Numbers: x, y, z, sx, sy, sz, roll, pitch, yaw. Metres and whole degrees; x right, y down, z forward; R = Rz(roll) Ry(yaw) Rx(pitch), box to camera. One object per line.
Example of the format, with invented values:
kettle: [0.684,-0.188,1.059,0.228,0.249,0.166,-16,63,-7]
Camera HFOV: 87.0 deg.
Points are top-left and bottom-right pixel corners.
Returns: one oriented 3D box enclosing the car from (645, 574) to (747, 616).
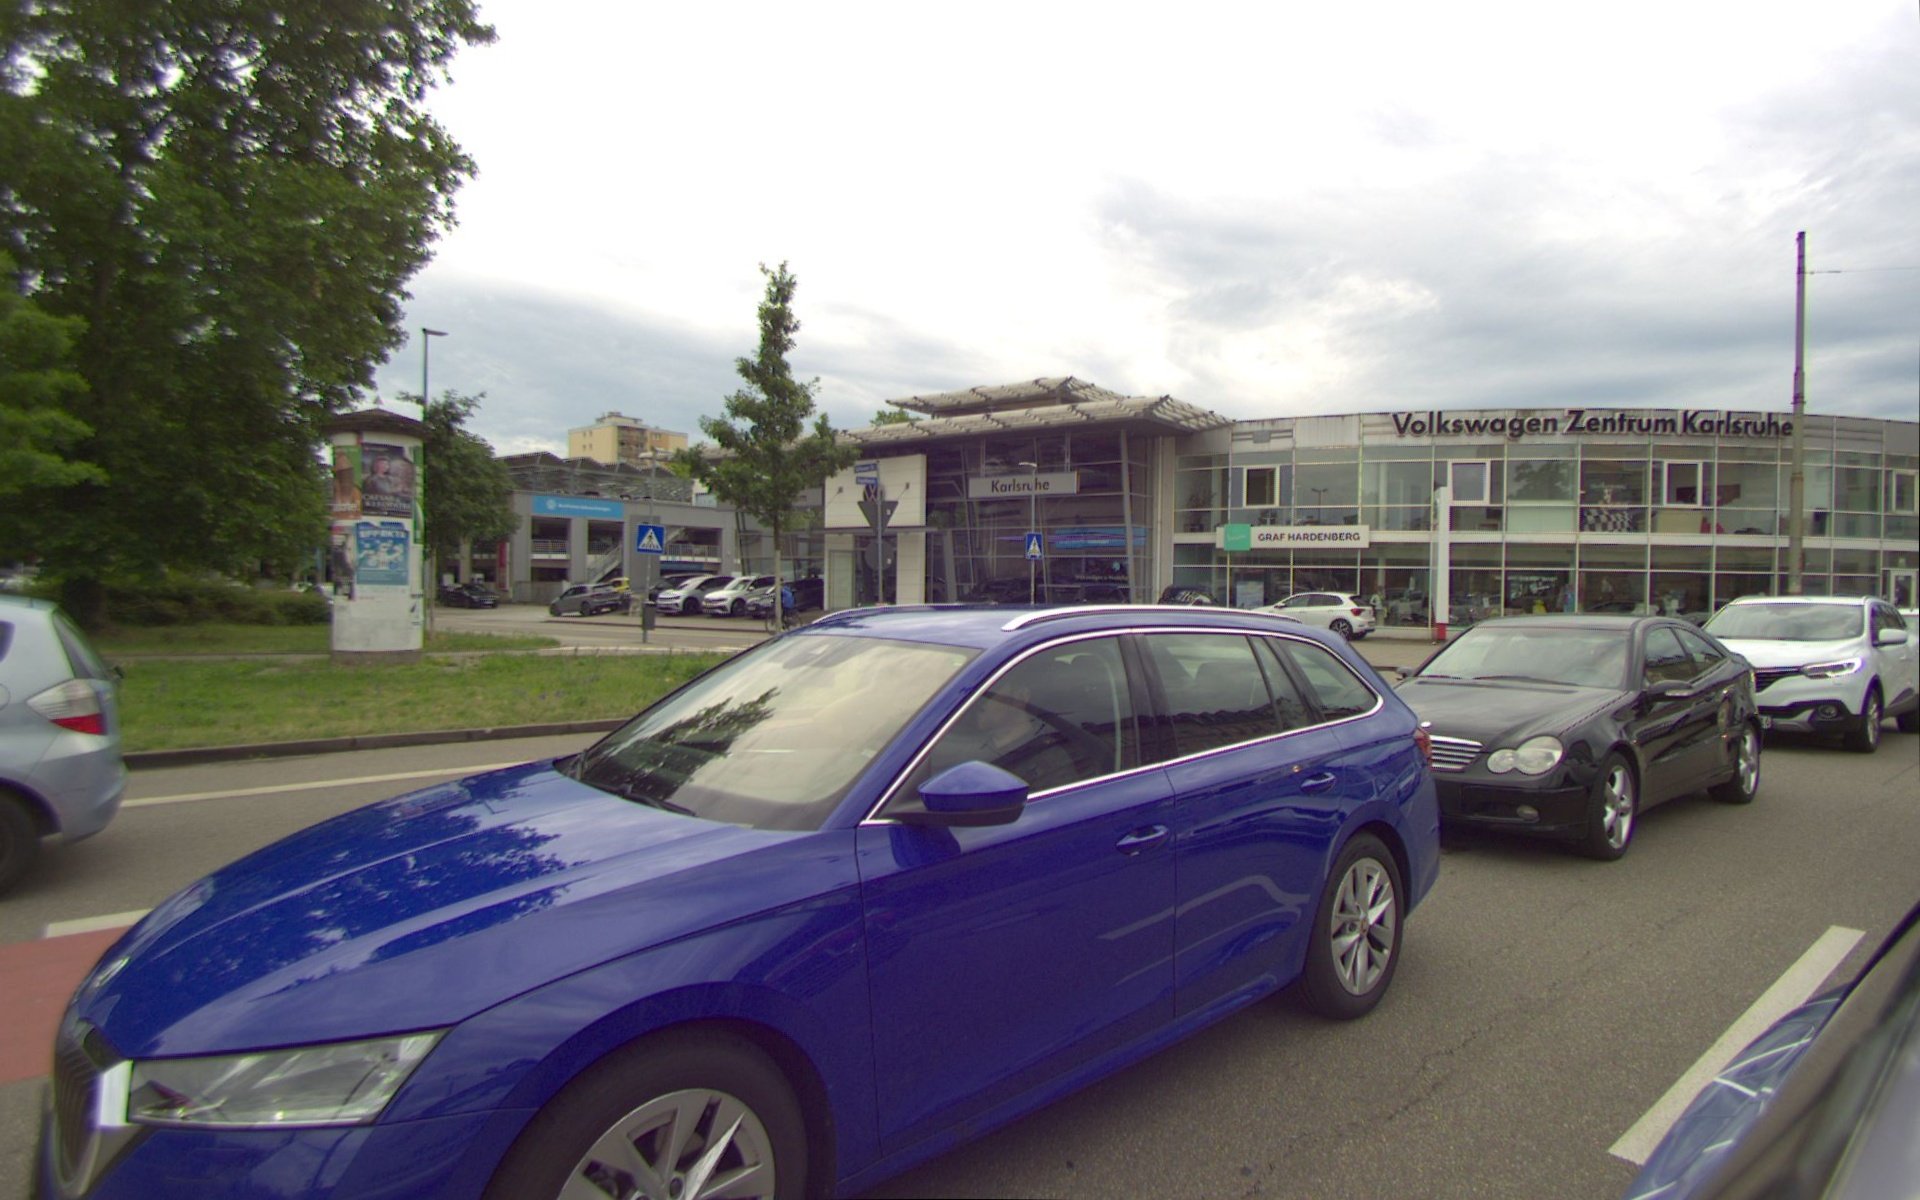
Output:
car: [-11.963,-0.269,46.113,1.946,1.483,4.178,2,6,37]

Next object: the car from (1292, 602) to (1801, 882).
car: [4.379,0.734,7.252,4.343,1.388,1.769,0,0,-40]

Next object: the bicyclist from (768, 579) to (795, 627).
bicyclist: [-5.806,0.084,32.894,0.691,1.515,0.548,1,1,36]

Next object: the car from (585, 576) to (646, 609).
car: [-17.541,-0.412,51.531,3.106,1.530,1.422,2,5,38]

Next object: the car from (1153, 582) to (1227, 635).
car: [7.347,0.207,32.607,1.760,1.580,4.029,1,1,5]

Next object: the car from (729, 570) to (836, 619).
car: [-7.430,-0.286,42.704,1.946,1.472,4.180,2,9,37]

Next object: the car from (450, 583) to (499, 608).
car: [-28.617,-0.304,59.648,1.928,1.358,3.678,-1,2,-37]

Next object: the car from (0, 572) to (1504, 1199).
car: [-0.061,0.679,3.378,4.674,1.454,1.768,0,0,-41]

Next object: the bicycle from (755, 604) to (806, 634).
bicycle: [-5.839,0.608,32.936,1.779,0.923,0.555,2,1,36]

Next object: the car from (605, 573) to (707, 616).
car: [-14.245,-0.320,47.595,1.946,1.529,4.179,2,7,37]

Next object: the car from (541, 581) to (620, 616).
car: [-18.540,-0.110,49.375,4.128,1.530,1.634,2,5,38]

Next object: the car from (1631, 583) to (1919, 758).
car: [9.423,0.631,11.326,4.069,1.578,1.983,0,1,-38]

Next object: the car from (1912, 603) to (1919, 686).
car: [18.870,0.800,18.231,3.899,1.454,1.909,0,1,-38]

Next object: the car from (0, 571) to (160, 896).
car: [-6.000,0.619,4.398,3.867,1.502,1.707,0,0,-43]

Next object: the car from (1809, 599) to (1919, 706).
car: [14.700,0.735,15.419,3.899,1.454,1.909,0,1,-38]

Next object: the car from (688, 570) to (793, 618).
car: [-9.598,-0.317,44.510,1.946,1.615,4.179,2,8,37]

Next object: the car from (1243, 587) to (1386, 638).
car: [11.083,0.349,31.728,3.889,1.459,1.708,2,1,40]

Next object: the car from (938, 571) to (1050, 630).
car: [1.297,-0.067,35.831,1.942,1.662,4.627,1,5,31]

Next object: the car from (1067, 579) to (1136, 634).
car: [4.708,0.148,33.188,1.927,1.544,4.216,1,3,12]
